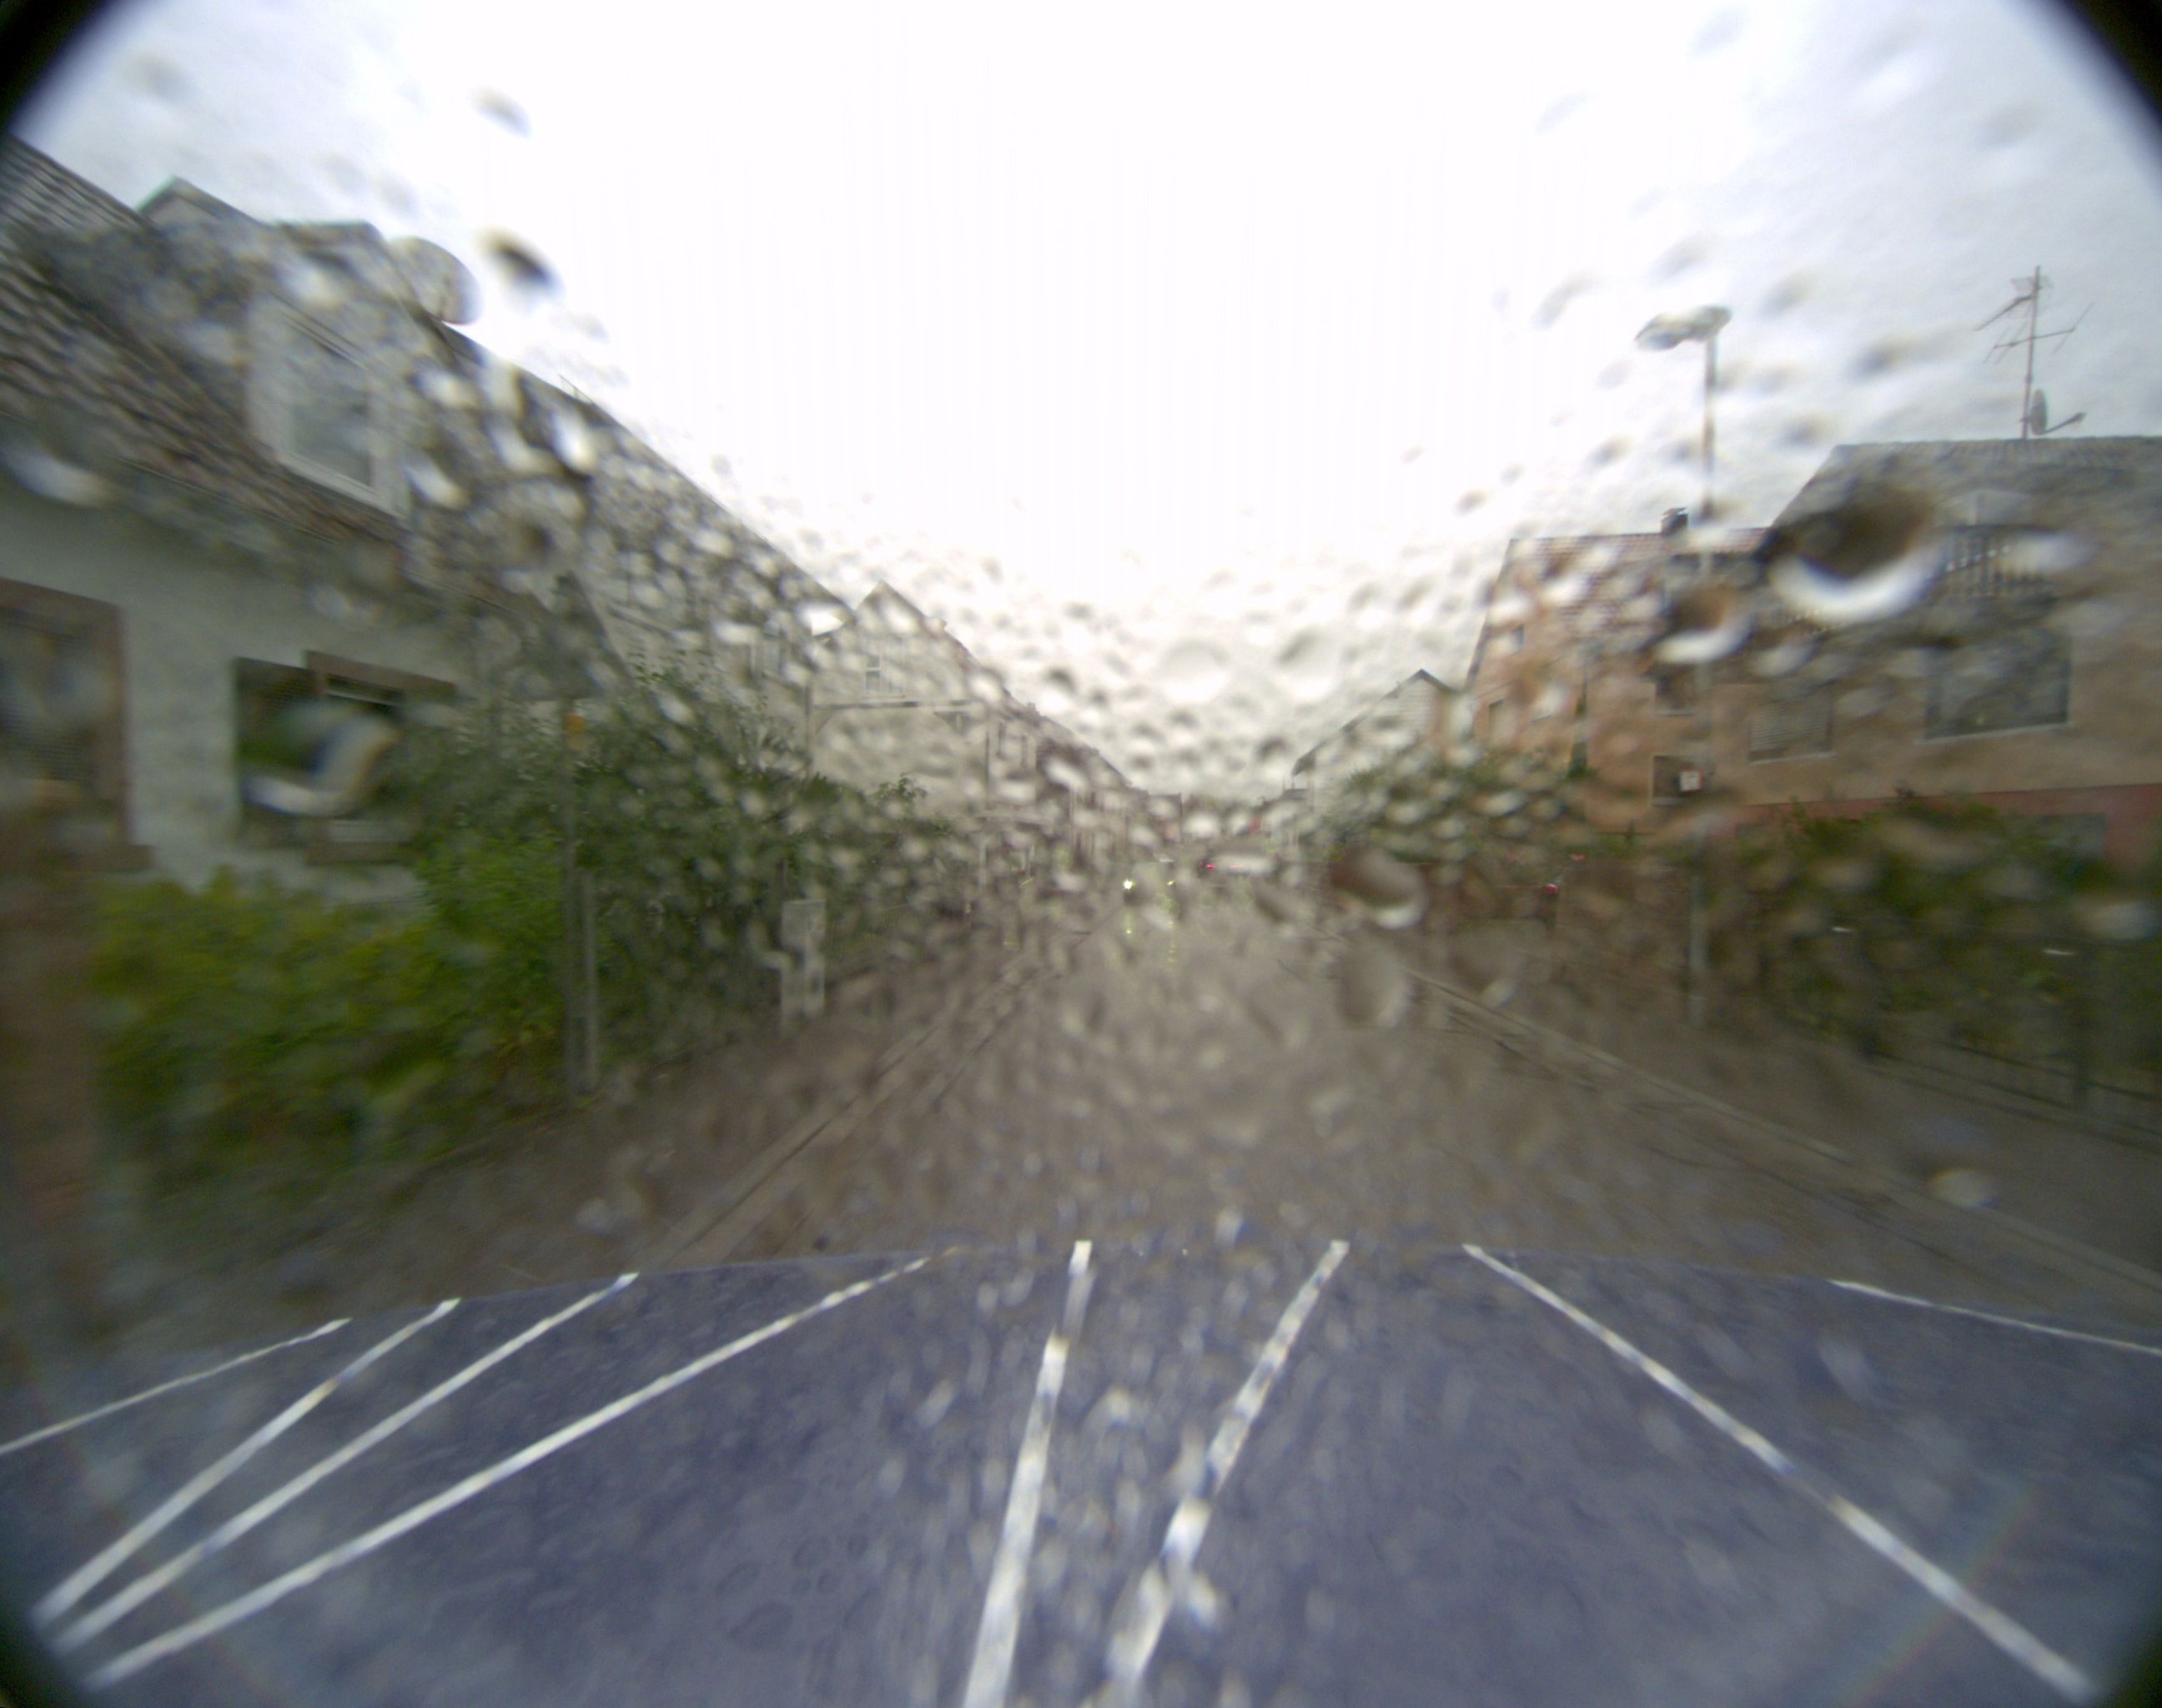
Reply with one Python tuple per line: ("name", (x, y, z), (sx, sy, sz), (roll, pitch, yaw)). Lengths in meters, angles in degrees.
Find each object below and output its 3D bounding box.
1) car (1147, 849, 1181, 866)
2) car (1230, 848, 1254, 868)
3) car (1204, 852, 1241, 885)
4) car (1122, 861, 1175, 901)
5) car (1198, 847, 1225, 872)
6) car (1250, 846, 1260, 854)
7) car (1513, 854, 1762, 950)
("car", (8.101, 0.310, 74.344), (1.892, 1.566, 3.885), (-2, 1, -17))
("car", (14.422, 0.341, 68.017), (1.813, 1.674, 4.188), (2, 2, 15))
("car", (7.320, 0.723, 39.562), (1.703, 1.538, 3.853), (3, 0, 8))
("car", (2.493, 0.939, 27.316), (1.666, 1.290, 3.520), (-1, 0, 8))
("car", (9.834, 0.374, 57.266), (1.837, 1.664, 5.200), (2, 1, 10))
("car", (35.022, -0.893, 152.895), (1.858, 1.497, 4.165), (2, 2, 14))
("car", (10.135, 0.781, 13.868), (4.004, 1.443, 1.810), (-1, 2, -22))
